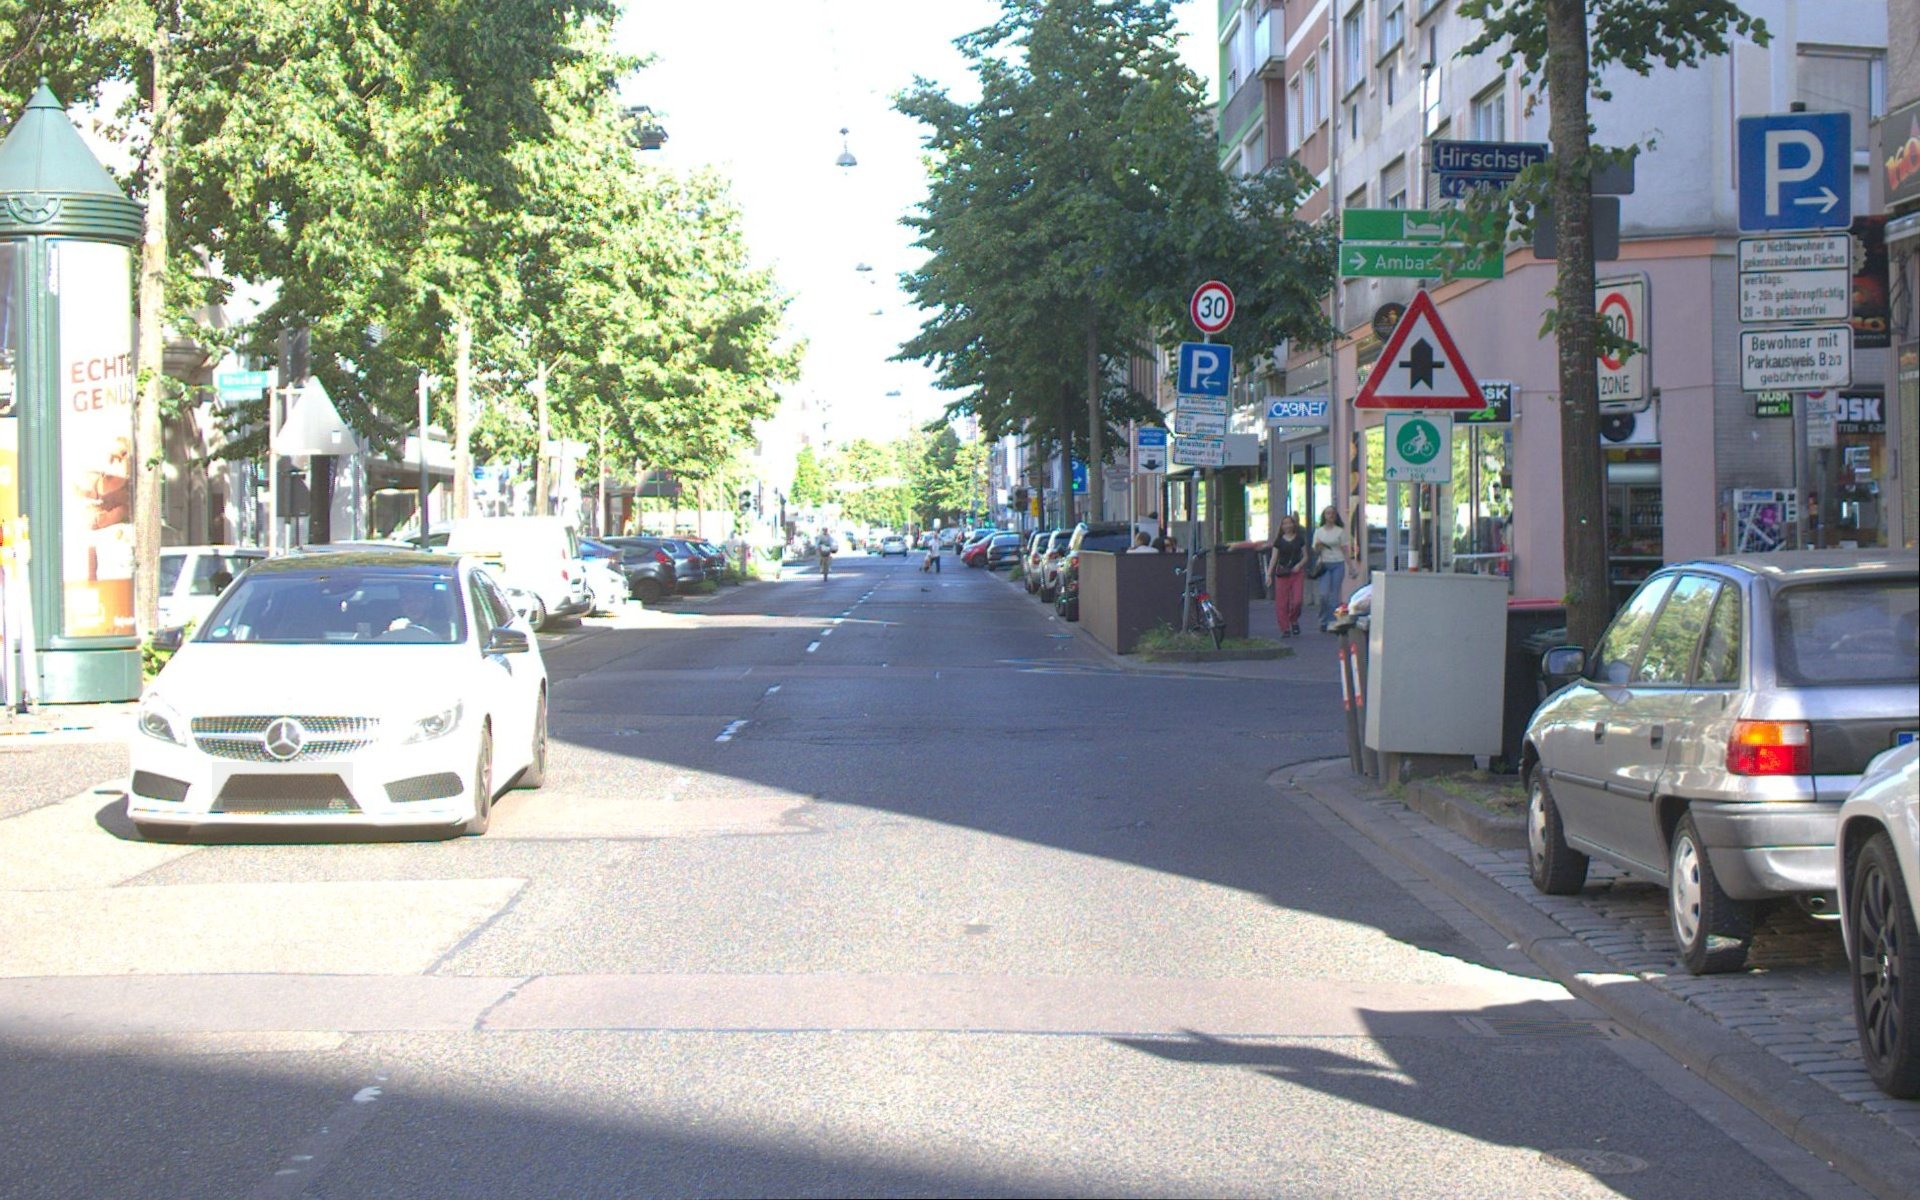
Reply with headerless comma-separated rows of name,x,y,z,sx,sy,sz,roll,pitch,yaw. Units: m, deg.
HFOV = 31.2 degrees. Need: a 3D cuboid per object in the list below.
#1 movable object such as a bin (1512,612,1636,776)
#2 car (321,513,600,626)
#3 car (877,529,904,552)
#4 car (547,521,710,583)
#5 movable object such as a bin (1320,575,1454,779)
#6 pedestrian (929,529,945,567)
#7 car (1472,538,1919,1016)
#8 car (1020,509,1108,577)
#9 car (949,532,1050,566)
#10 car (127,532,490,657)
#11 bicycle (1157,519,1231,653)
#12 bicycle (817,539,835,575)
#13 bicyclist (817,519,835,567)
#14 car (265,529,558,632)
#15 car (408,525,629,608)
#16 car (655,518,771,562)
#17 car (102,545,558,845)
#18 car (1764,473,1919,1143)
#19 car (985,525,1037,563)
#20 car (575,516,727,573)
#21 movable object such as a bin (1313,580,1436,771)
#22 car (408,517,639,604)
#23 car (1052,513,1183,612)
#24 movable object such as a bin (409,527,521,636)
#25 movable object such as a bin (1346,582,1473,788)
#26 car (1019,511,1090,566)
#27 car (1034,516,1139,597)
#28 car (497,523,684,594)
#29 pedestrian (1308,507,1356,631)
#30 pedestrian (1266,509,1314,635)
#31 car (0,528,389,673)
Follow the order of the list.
movable object such as a bin,3.506,0.528,19.655,0.562,0.892,0.628,-1,1,-3
car,-7.840,-0.489,54.231,3.987,1.688,2.000,-1,2,4
car,-4.596,-3.958,227.885,1.792,1.406,4.000,-1,2,-1
car,-8.445,-1.226,87.765,3.987,1.494,2.000,-1,2,-1
movable object such as a bin,2.634,0.466,21.250,0.705,1.218,0.681,-1,1,-3
pedestrian,-0.892,-2.026,134.154,0.545,1.467,0.546,-1,1,-2
car,3.241,0.515,12.930,1.822,1.386,4.301,-3,1,-1
car,2.546,-1.428,85.119,1.993,1.604,4.000,-1,2,-1
car,1.728,-2.215,149.879,3.987,1.437,2.000,0,1,-34
car,-7.773,-0.084,41.323,3.987,1.385,2.000,-1,2,-1
bicycle,2.680,-0.177,39.452,0.560,1.436,1.628,-7,2,0
bicycle,-4.372,-1.396,112.255,0.560,1.176,1.628,0,1,-1
bicyclist,-4.380,-1.857,112.265,0.560,1.542,0.728,0,0,-1
car,-8.170,-0.300,51.434,3.987,1.452,1.868,-1,2,4
car,-8.385,-0.635,65.551,3.987,1.495,2.000,-1,0,-1
car,-8.732,-2.129,121.950,3.987,1.494,2.000,-1,2,-1
car,-3.321,0.429,18.938,1.802,1.430,4.410,0,1,-1
car,3.270,0.499,7.608,1.822,1.673,4.601,-3,1,0
car,2.078,-2.284,140.481,1.993,1.503,4.000,0,1,-1
car,-8.433,-1.527,94.005,3.987,1.494,2.000,-1,2,-1
movable object such as a bin,2.646,0.474,21.992,0.659,1.175,0.739,-1,1,-3
car,-7.964,-0.736,63.045,3.987,1.494,2.000,-1,2,-1
car,2.671,-0.670,59.114,1.993,1.604,4.000,-1,2,-1
movable object such as a bin,-6.897,-0.267,47.998,1.334,1.473,1.480,-1,1,-1
movable object such as a bin,2.664,0.494,20.412,0.621,1.175,0.712,-1,1,-3
car,2.872,-1.895,105.457,1.993,1.604,4.000,-1,2,-1
car,2.631,-0.939,72.488,1.993,1.604,4.000,-1,2,-1
car,-8.256,-0.944,76.997,3.987,1.494,2.000,-1,2,-1
pedestrian,4.993,-0.425,46.144,0.547,1.644,0.664,-1,1,0
pedestrian,4.386,-0.379,45.693,0.547,1.644,0.664,-1,1,0
car,-8.056,-0.016,35.535,3.987,1.385,2.000,-1,2,-1
